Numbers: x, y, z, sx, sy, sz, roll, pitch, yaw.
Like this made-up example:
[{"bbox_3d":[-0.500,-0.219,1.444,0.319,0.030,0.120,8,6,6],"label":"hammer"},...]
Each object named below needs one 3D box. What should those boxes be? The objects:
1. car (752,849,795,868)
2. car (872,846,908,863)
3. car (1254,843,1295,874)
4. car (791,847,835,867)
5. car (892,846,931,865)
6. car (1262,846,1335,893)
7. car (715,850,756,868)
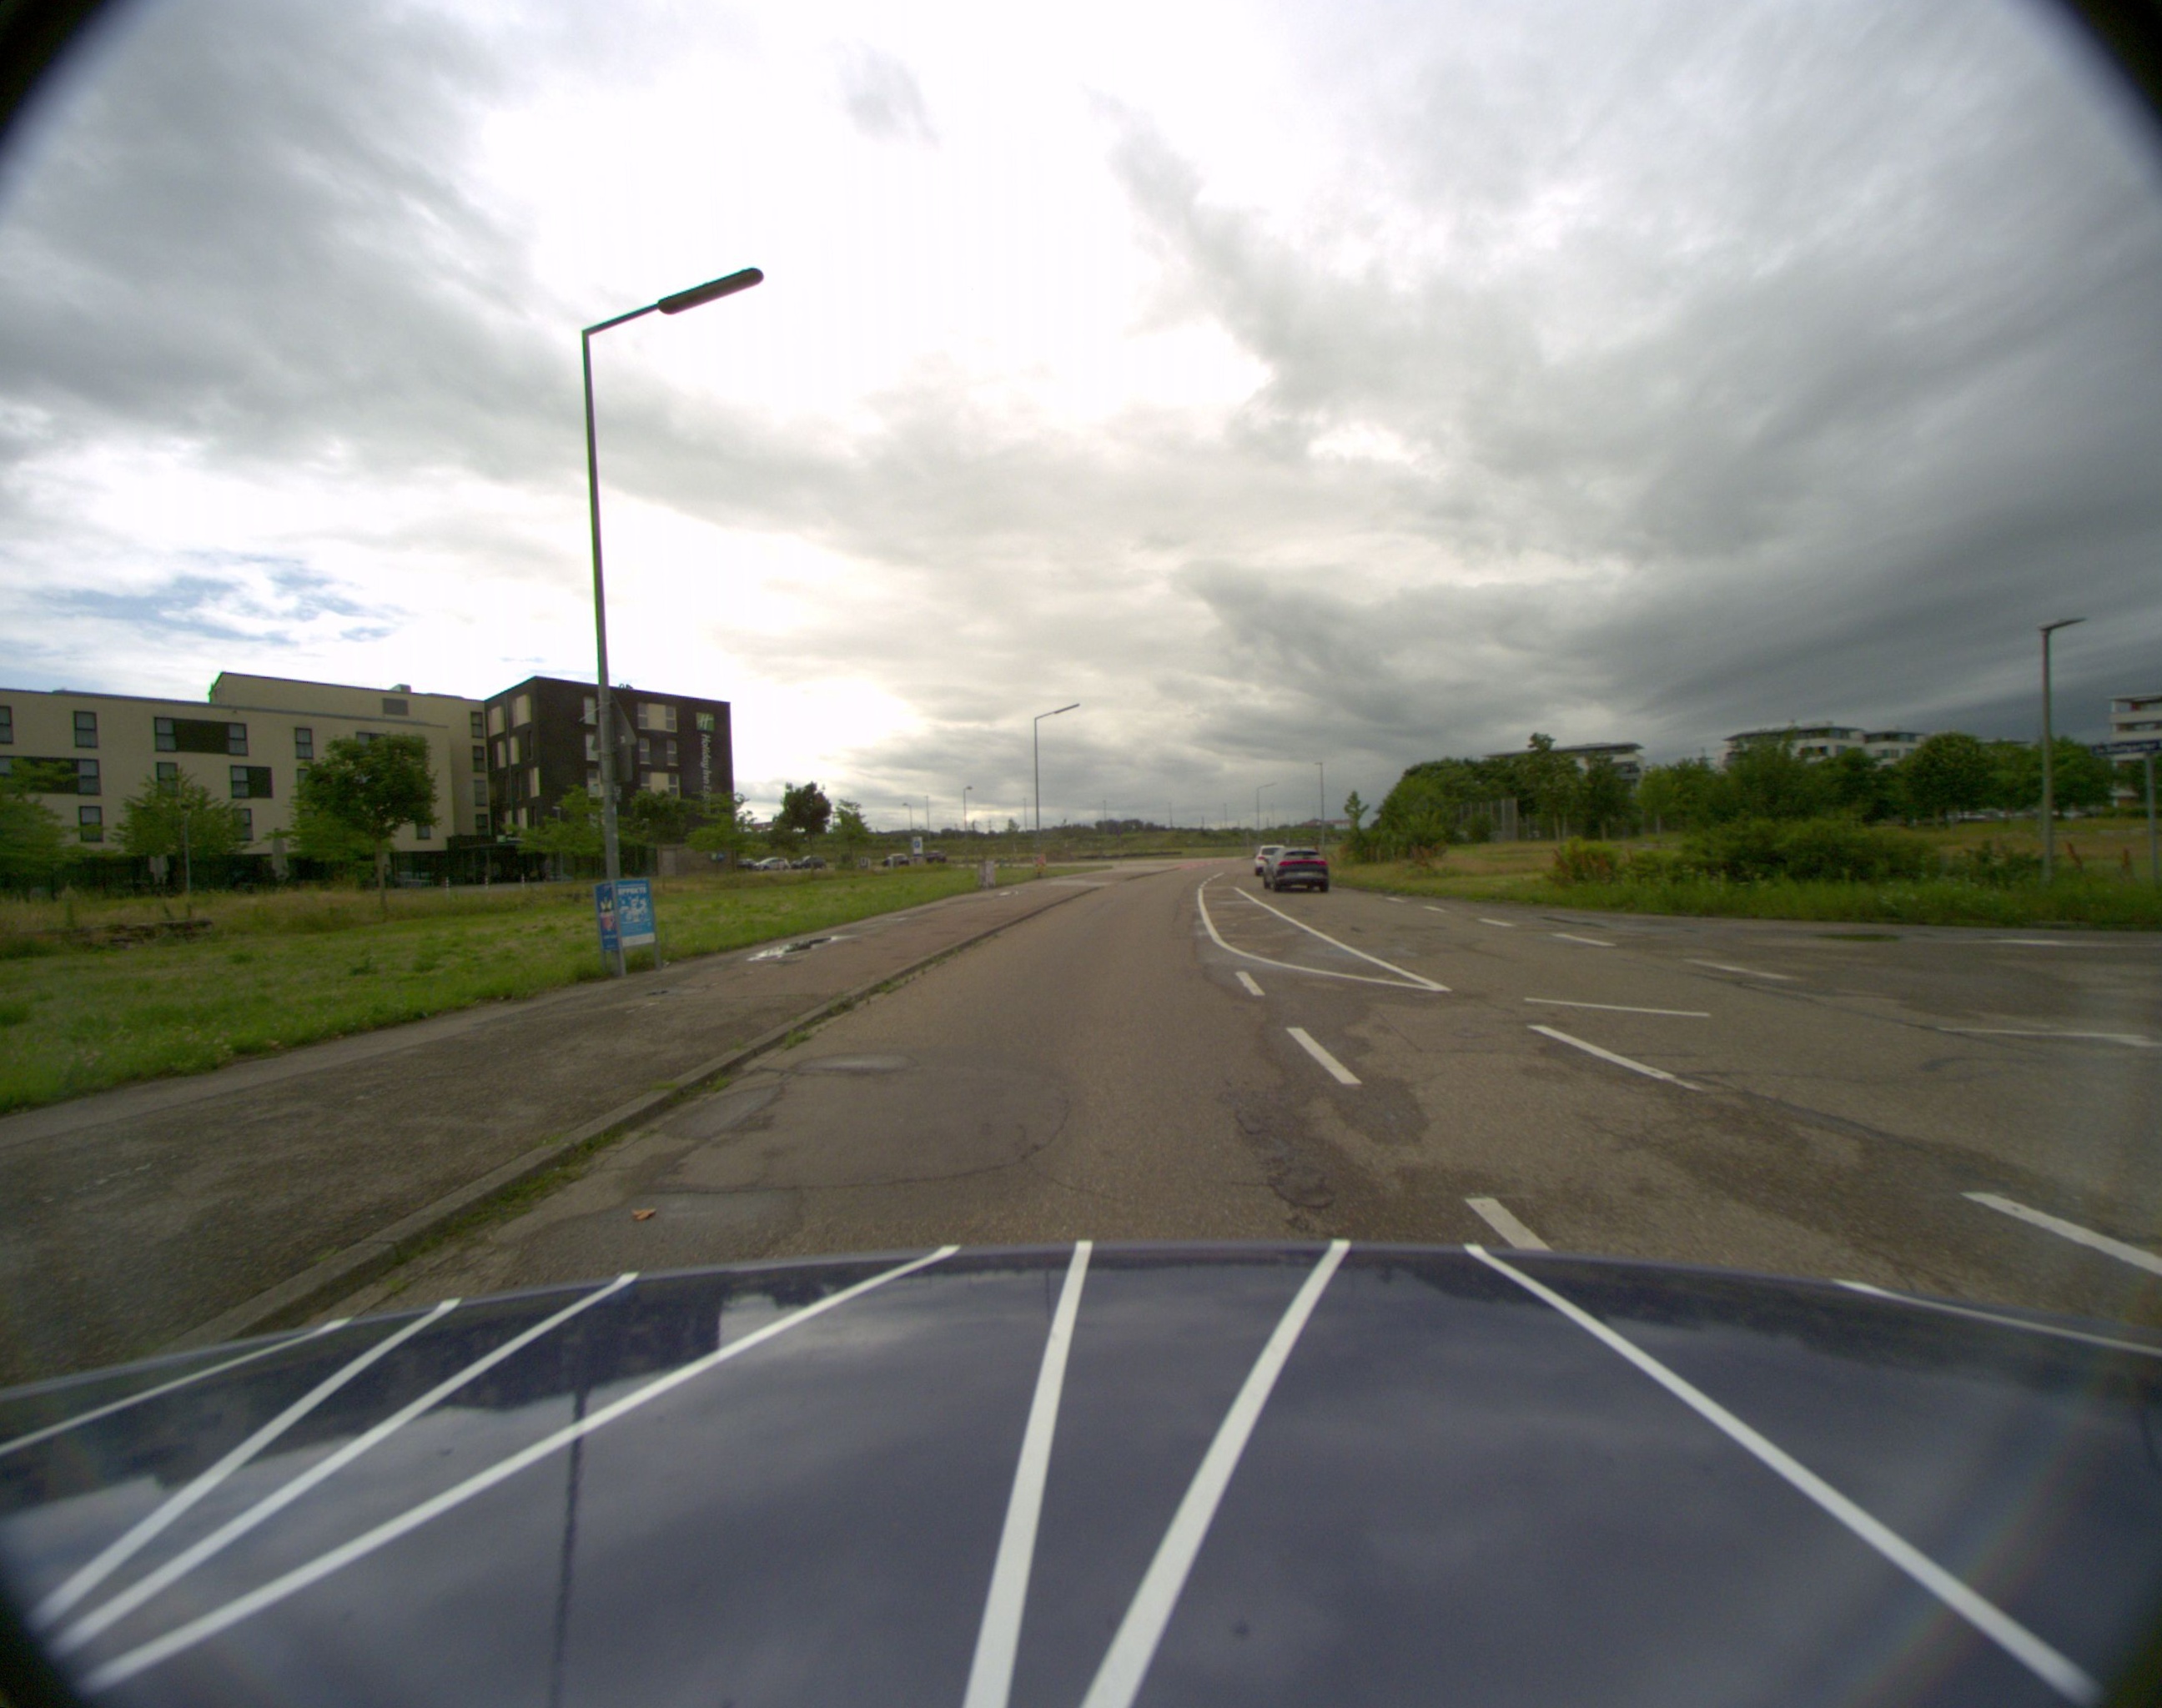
[{"bbox_3d":[-34.949,0.461,86.328,1.994,2.002,4.008,-1,1,37],"label":"car"},{"bbox_3d":[-24.078,0.032,96.004,1.994,2.002,4.007,-1,1,33],"label":"car"},{"bbox_3d":[10.523,0.209,41.606,1.841,1.527,4.002,-2,1,10],"label":"car"},{"bbox_3d":[-28.881,0.300,81.977,1.994,2.002,4.008,-1,1,37],"label":"car"},{"bbox_3d":[-19.866,0.160,89.091,1.994,2.002,4.008,-1,1,37],"label":"car"},{"bbox_3d":[7.547,0.494,26.720,1.742,1.444,4.001,-2,1,6],"label":"car"},{"bbox_3d":[-41.930,0.578,92.251,1.994,2.002,4.008,-1,1,37],"label":"car"}]
